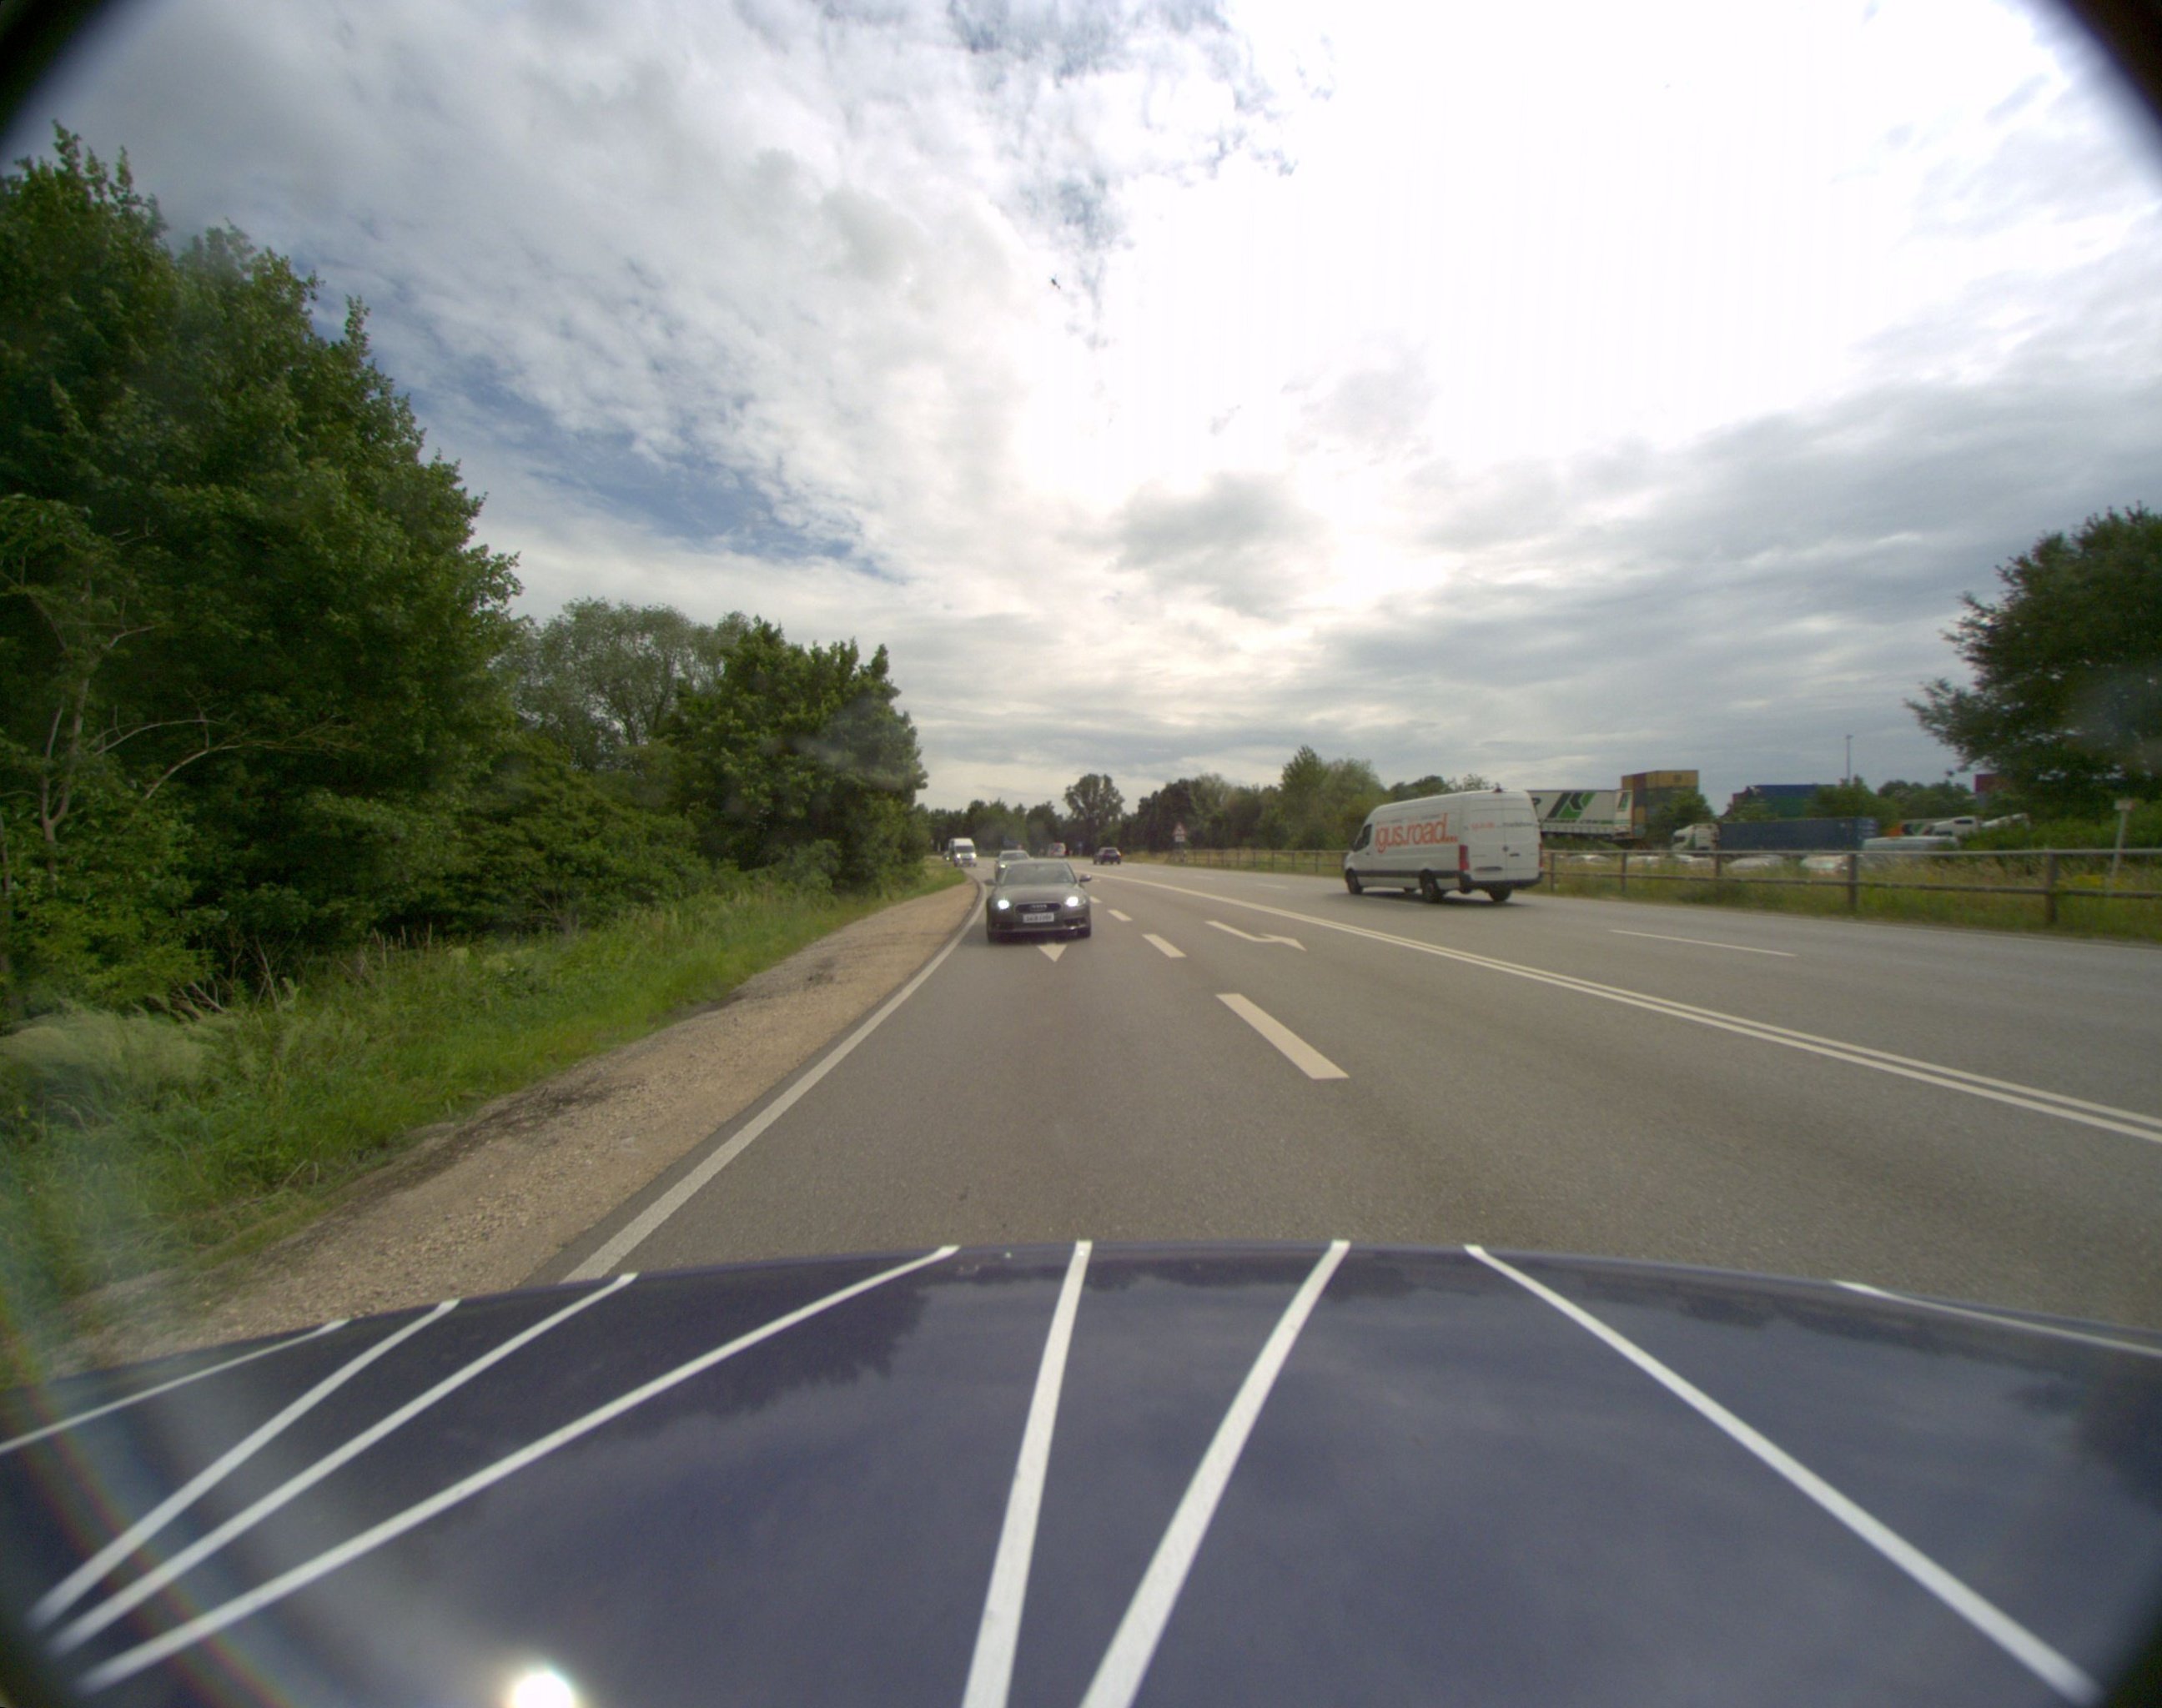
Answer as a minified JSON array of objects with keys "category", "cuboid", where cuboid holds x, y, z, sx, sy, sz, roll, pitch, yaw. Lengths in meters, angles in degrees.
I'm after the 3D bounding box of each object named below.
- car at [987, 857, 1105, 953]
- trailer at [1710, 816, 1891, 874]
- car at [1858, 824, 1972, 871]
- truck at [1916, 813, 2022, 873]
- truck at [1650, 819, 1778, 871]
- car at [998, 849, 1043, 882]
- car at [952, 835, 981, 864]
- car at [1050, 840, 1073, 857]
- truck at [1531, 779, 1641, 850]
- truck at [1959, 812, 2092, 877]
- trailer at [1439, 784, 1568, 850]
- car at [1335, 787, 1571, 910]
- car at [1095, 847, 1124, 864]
[{"category":"car","cuboid":[-0.822,0.861,14.872,1.958,1.527,3.997,-2,0,-7]},{"category":"trailer","cuboid":[58.066,-0.698,61.837,3.245,4.268,10.387,-2,1,-18]},{"category":"car","cuboid":[34.635,-0.289,31.549,4.590,1.725,1.996,-3,1,-27]},{"category":"truck","cuboid":[65.768,-0.777,56.391,4.841,4.268,2.203,-1,1,41]},{"category":"truck","cuboid":[56.116,-0.768,67.692,3.245,4.268,8.305,-2,1,-18]},{"category":"car","cuboid":[-3.269,0.551,40.181,2.022,1.603,4.277,-2,1,-8]},{"category":"car","cuboid":[-11.138,-0.385,73.771,2.221,2.654,5.234,-4,0,-13]},{"category":"car","cuboid":[-2.439,-0.650,93.615,2.000,2.002,4.662,-2,1,-11]},{"category":"truck","cuboid":[37.710,-2.879,56.964,2.809,4.968,6.174,-3,2,-32]},{"category":"truck","cuboid":[64.782,-0.621,52.280,5.415,4.268,2.203,-1,1,41]},{"category":"trailer","cuboid":[34.372,-2.874,62.263,2.811,4.968,8.962,-3,2,-32]},{"category":"car","cuboid":[9.421,-0.148,20.289,2.441,2.659,6.884,-2,1,-5]},{"category":"car","cuboid":[2.524,0.087,67.767,1.814,1.433,4.349,-2,1,-8]}]
